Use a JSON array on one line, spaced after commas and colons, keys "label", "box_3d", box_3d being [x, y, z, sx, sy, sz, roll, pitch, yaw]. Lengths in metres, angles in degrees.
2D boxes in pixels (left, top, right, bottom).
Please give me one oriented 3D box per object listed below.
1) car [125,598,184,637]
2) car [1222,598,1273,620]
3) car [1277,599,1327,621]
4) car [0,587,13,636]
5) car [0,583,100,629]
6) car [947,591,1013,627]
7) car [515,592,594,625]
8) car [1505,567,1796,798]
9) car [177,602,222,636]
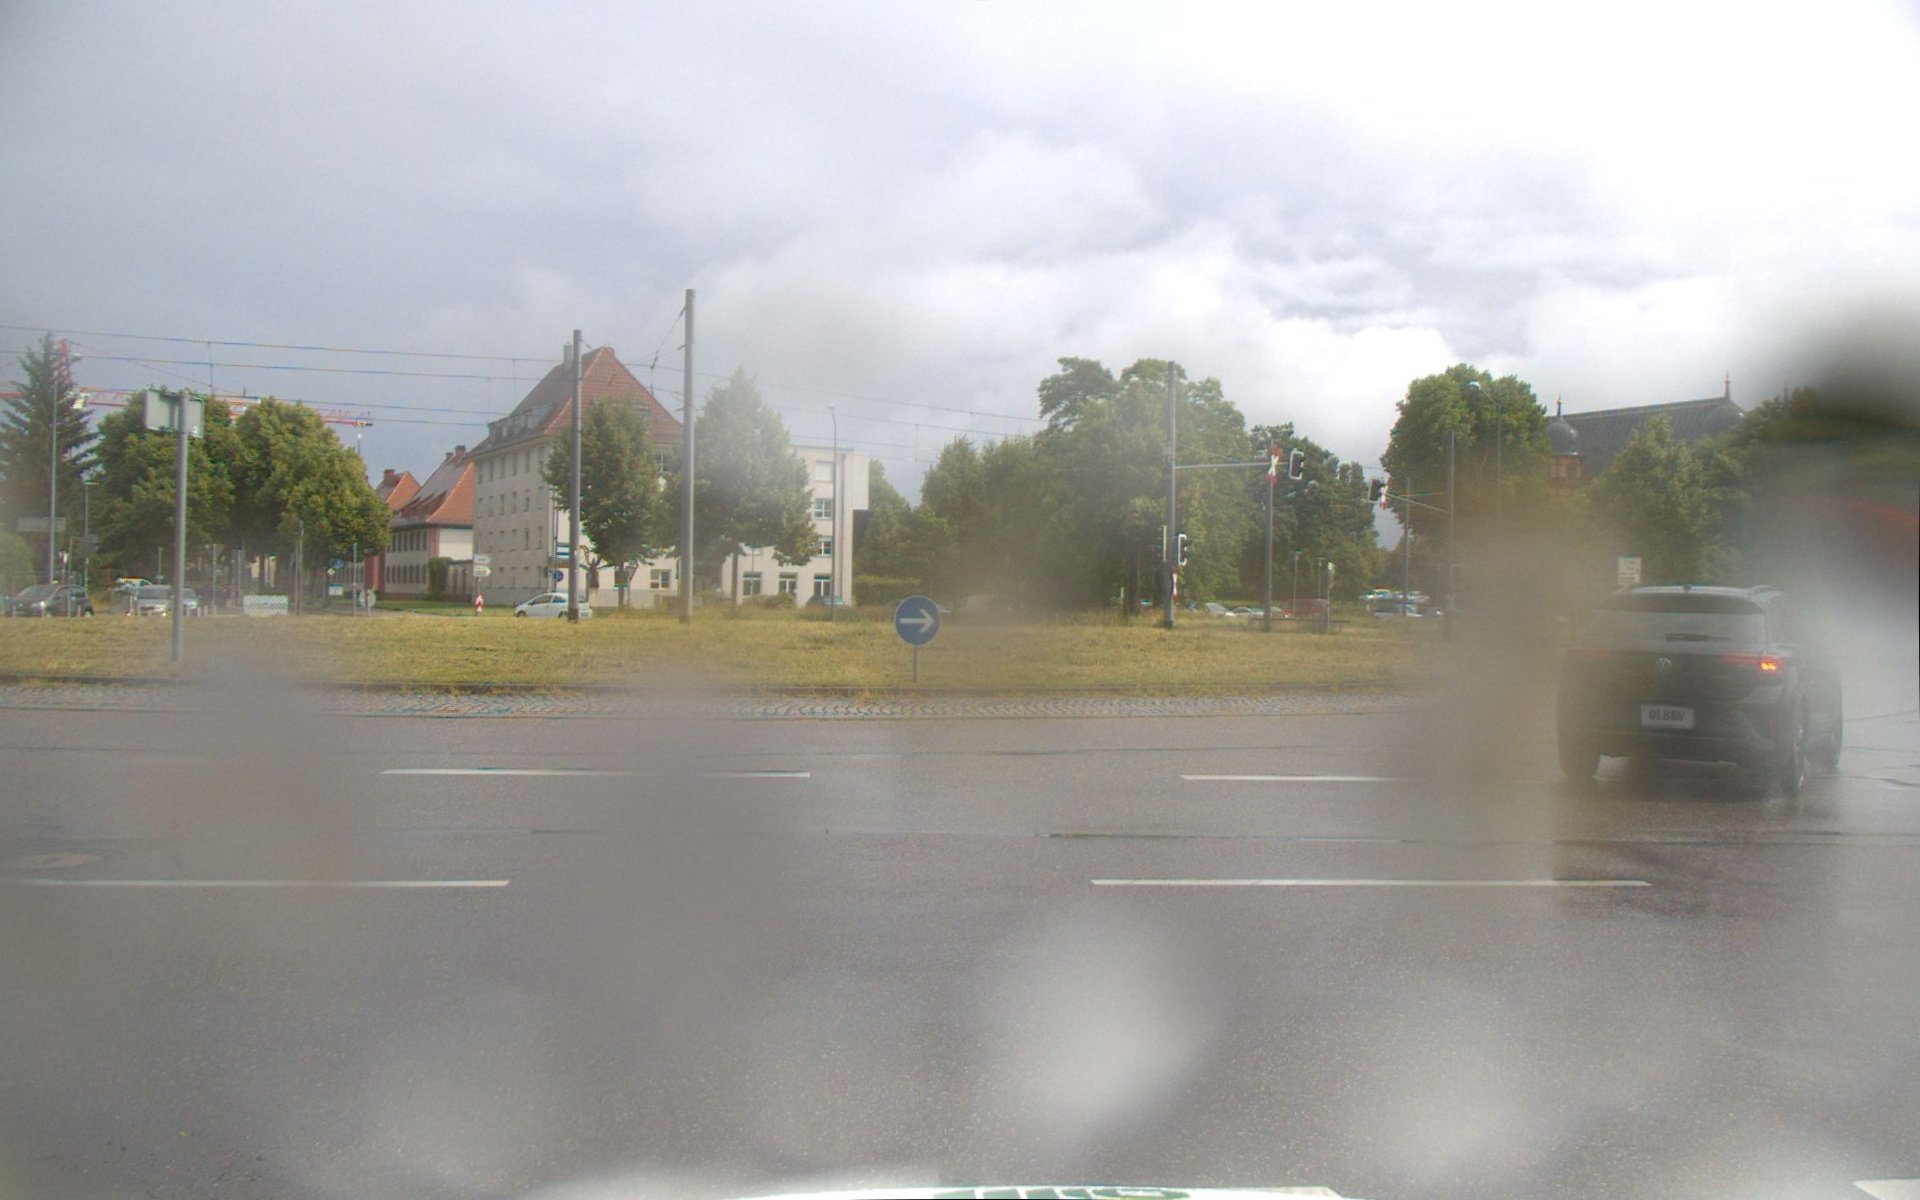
[{"label": "car", "box_3d": [-34.300, 0.722, 70.461, 1.519, 1.588, 3.487, 1, 0, -14]}, {"label": "car", "box_3d": [19.605, 0.608, 112.814, 1.620, 1.487, 3.580, 1, 0, -27]}, {"label": "car", "box_3d": [23.854, 0.694, 115.444, 1.623, 1.537, 3.623, 1, 0, -24]}, {"label": "car", "box_3d": [-32.360, 0.352, 52.545, 1.542, 1.588, 3.666, 1, 1, 34]}, {"label": "car", "box_3d": [-33.883, 0.191, 61.278, 1.754, 1.612, 4.002, 1, 0, 3]}, {"label": "car", "box_3d": [1.220, 0.544, 103.153, 2.080, 2.093, 5.120, 0, 1, -25]}, {"label": "car", "box_3d": [-19.272, 0.375, 78.531, 3.418, 1.479, 1.549, 1, 1, 24]}, {"label": "car", "box_3d": [5.958, 0.580, 13.999, 1.861, 1.646, 3.993, 0, 0, 29]}, {"label": "car", "box_3d": [-38.144, 0.931, 82.972, 1.570, 1.588, 3.533, 1, 0, -17]}]
